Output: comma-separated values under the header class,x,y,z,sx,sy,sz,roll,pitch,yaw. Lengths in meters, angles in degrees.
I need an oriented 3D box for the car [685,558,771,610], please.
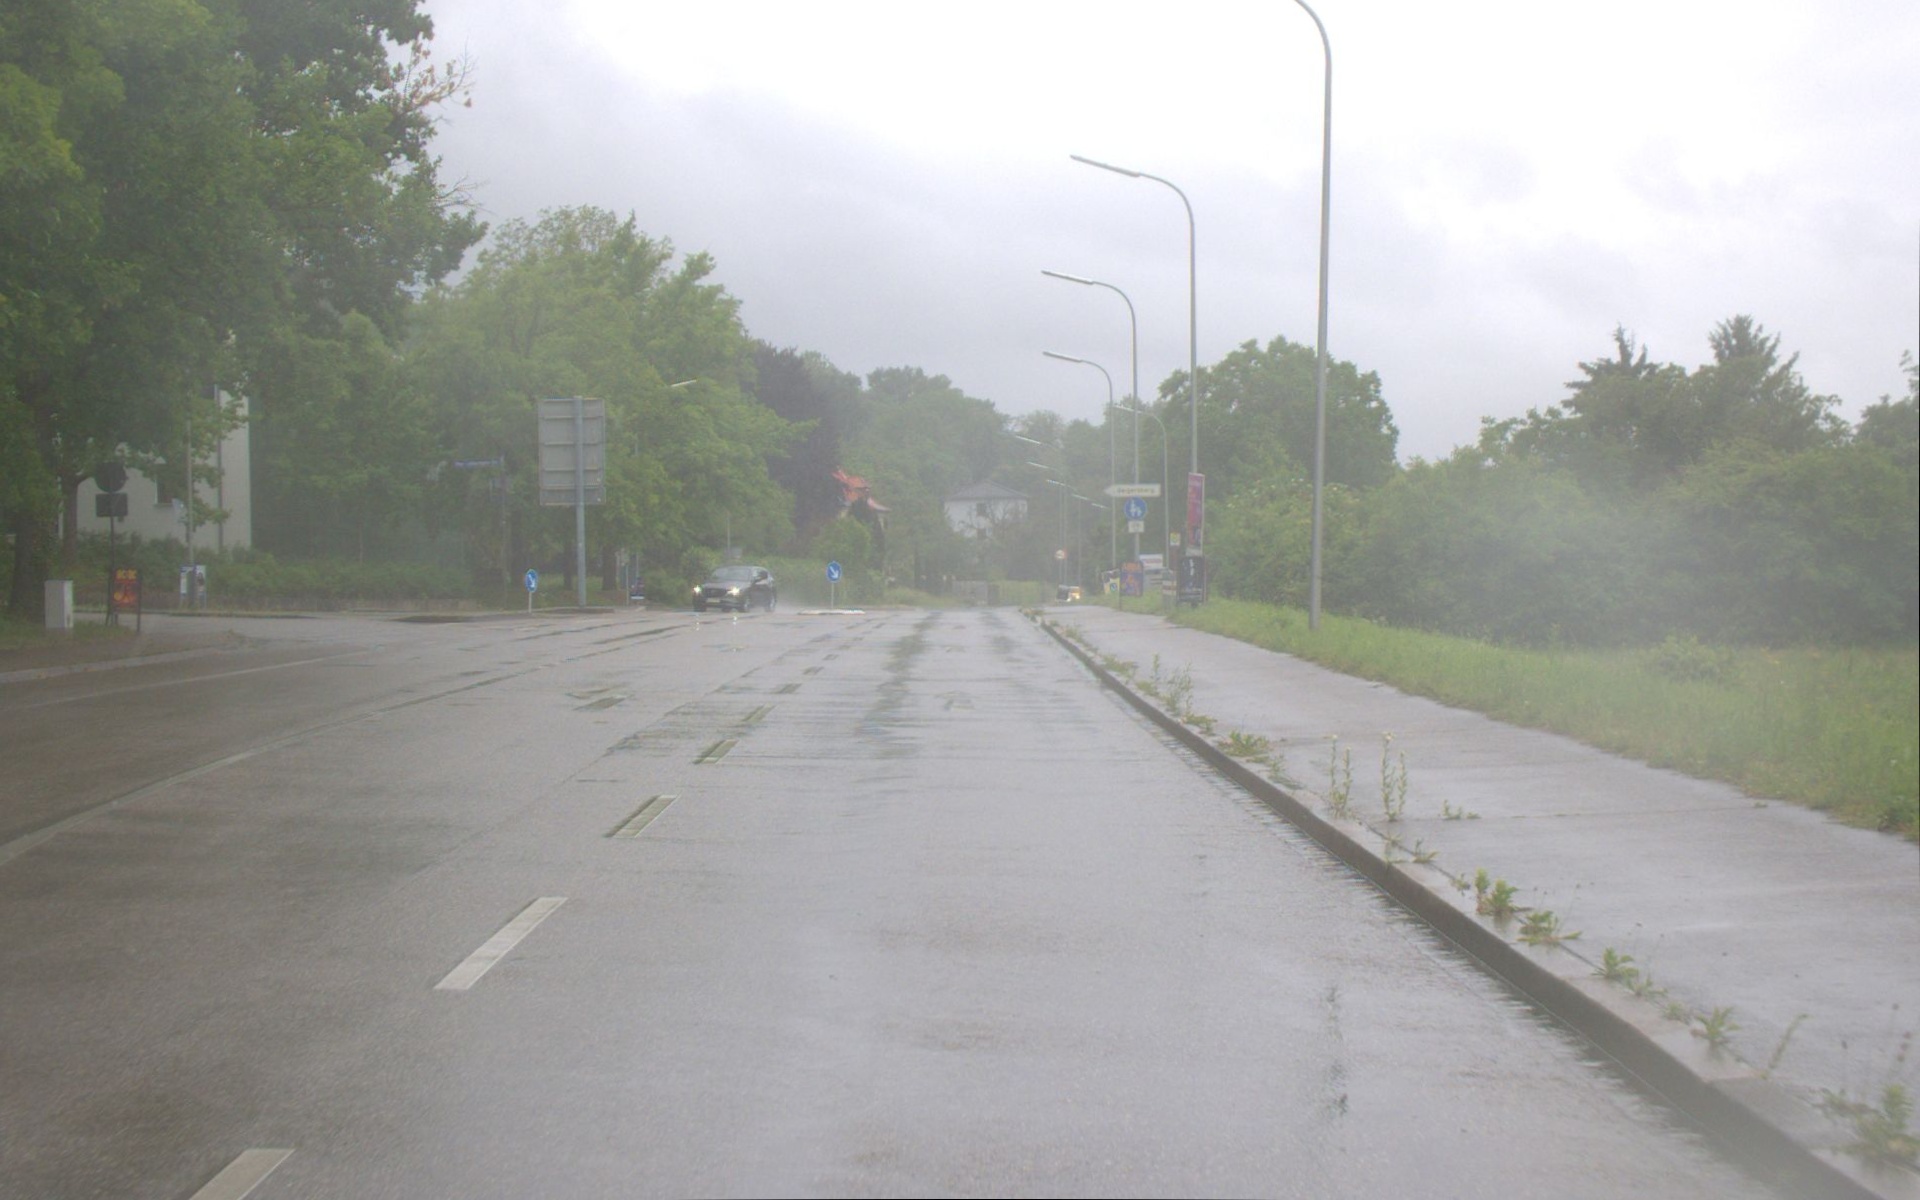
class,x,y,z,sx,sy,sz,roll,pitch,yaw
car,-8.012,-0.554,119.086,1.795,1.756,3.997,1,1,15
